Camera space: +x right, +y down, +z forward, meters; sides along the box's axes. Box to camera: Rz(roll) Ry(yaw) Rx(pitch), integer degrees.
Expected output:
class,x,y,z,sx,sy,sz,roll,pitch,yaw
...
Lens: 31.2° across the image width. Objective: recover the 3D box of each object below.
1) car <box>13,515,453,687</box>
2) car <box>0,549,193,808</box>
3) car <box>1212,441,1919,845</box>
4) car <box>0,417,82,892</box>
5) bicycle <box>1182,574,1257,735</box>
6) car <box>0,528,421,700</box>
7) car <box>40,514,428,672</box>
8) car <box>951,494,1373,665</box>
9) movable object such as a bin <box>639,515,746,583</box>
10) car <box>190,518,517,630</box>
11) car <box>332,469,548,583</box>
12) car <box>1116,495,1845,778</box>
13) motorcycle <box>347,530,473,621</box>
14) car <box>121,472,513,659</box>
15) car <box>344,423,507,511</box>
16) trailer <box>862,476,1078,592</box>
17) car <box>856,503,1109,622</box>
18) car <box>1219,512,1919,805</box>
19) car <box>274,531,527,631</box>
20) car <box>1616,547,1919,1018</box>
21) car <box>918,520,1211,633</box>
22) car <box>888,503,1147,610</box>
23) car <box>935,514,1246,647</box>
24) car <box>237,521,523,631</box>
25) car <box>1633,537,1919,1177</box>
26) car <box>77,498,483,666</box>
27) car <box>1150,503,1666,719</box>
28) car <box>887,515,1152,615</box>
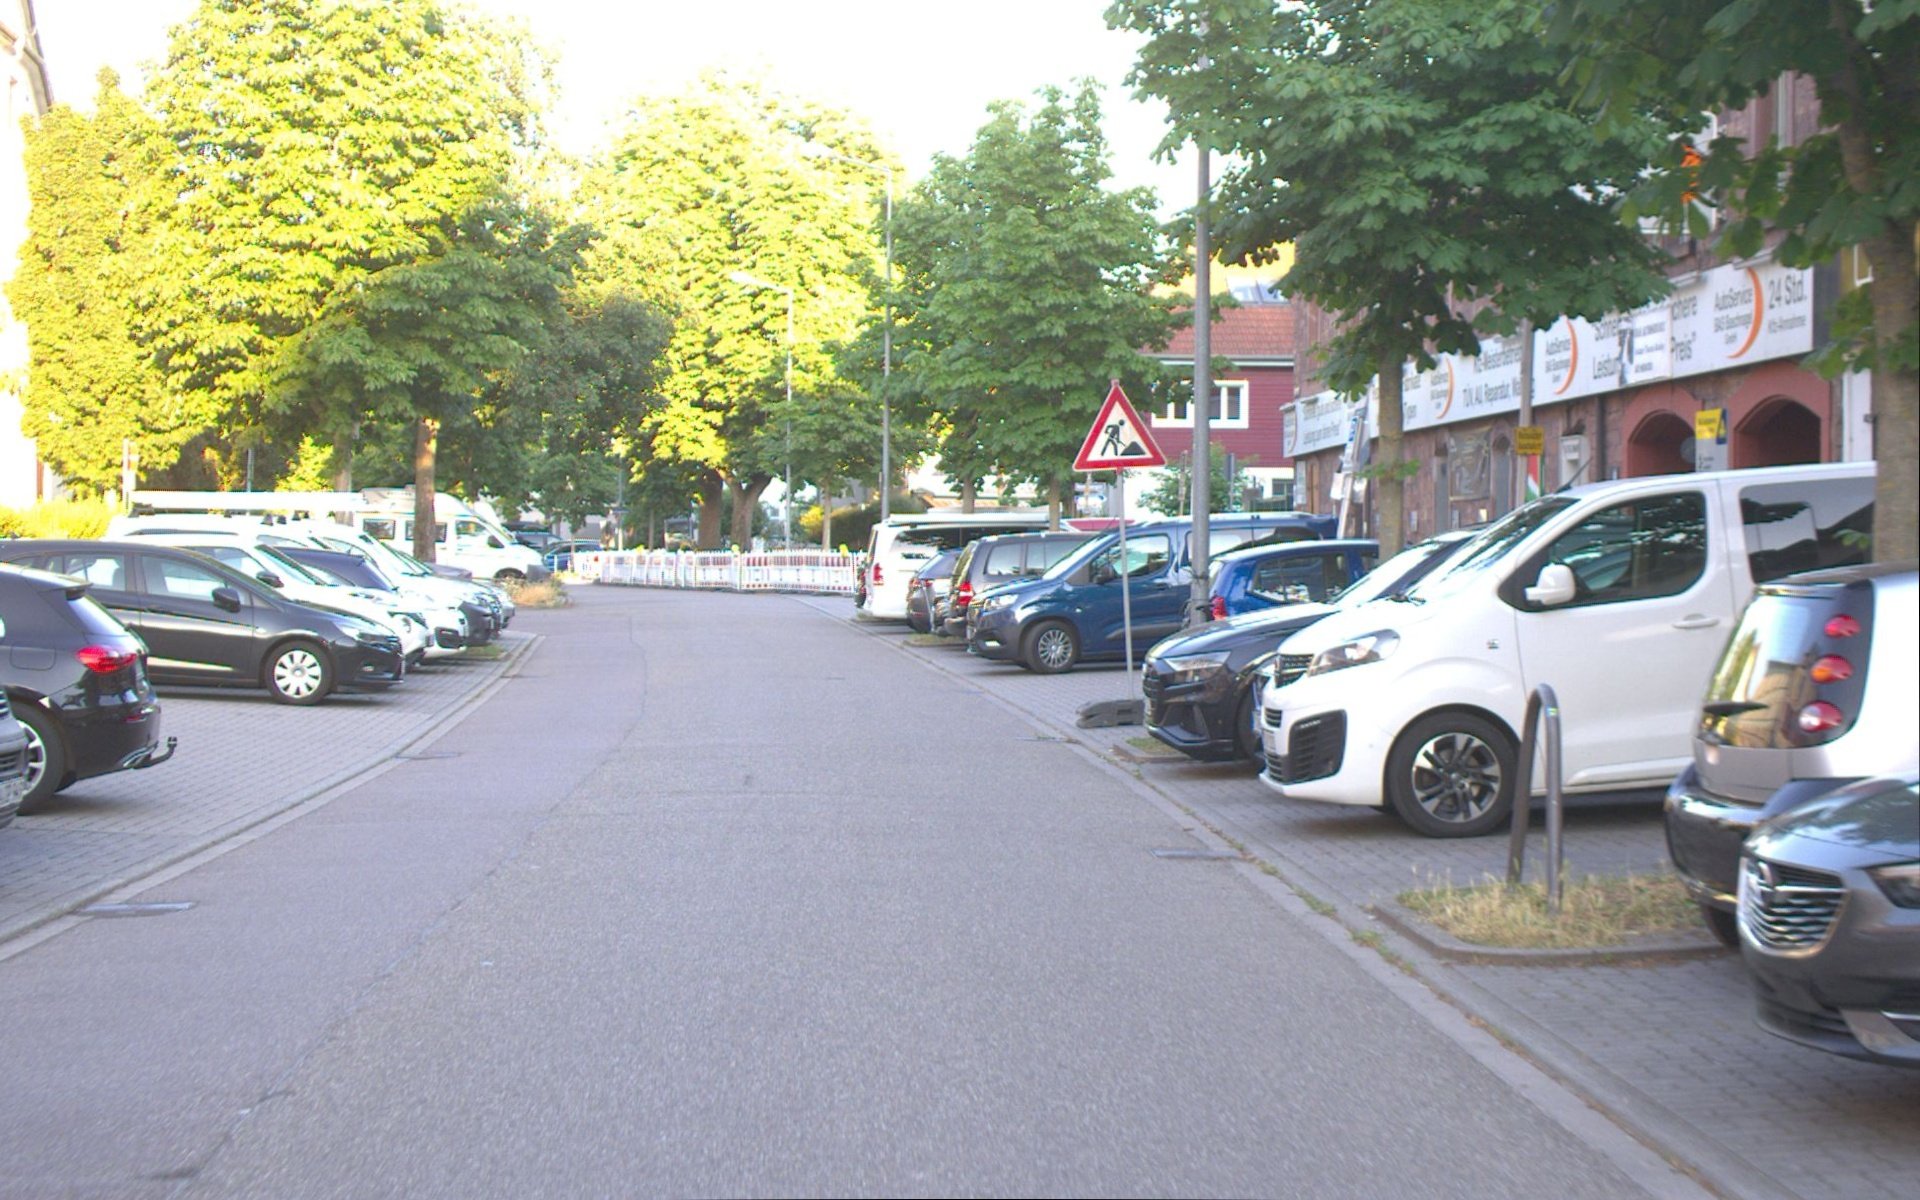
class,x,y,z,sx,sy,sz,roll,pitch,yaw
car,-7.556,-0.008,36.023,4.243,1.615,1.813,2,1,-3
car,-6.691,0.371,20.029,4.137,1.411,1.739,2,1,-7
car,3.853,0.167,19.107,4.587,1.855,2.012,-4,1,-1
car,-6.571,0.230,15.177,4.854,2.047,2.000,0,2,0
bicycle,1.998,0.400,26.596,0.308,1.188,1.763,0,1,-4
car,-7.537,0.113,33.342,4.407,1.447,1.828,3,1,-5
car,-8.078,-0.094,38.530,3.986,1.479,1.756,4,1,-5
car,2.402,-0.277,41.685,4.785,1.748,2.018,-3,2,-5
movable object such as a bin,-9.713,-1.834,124.237,2.627,2.394,5.199,0,1,-19
car,-8.600,-0.382,49.019,4.326,1.400,1.852,2,1,-2
car,-11.979,-1.693,79.428,4.731,2.561,2.000,0,1,-3
car,3.550,0.220,24.110,4.694,1.626,2.000,-3,1,-1
motorcycle,-8.840,-0.393,55.300,1.985,1.431,0.722,0,1,-9
car,-8.095,-0.459,43.587,4.512,2.063,2.000,3,2,-1
car,-15.333,-3.782,98.508,4.501,2.422,2.001,0,1,-11
trailer,0.164,-1.267,66.298,3.986,2.180,2.000,0,1,-4
car,0.340,-0.621,56.884,3.986,1.897,2.000,0,1,-5
car,3.740,0.331,21.432,3.987,1.491,1.892,-4,1,-1
car,-8.703,-0.308,53.659,3.713,1.501,1.690,0,1,-2
car,4.358,0.563,11.921,3.784,1.491,1.681,0,1,-4
car,1.478,-0.343,49.443,3.945,1.560,1.821,0,1,-8
car,0.968,-0.754,59.503,4.300,1.793,1.904,0,1,-4
car,1.755,-0.279,47.060,3.986,1.613,1.895,-3,1,-5
car,-8.578,-0.359,51.079,3.986,1.578,1.729,0,1,-2
car,4.423,0.526,9.280,4.721,1.491,2.000,-2,1,-3
car,-8.025,-0.230,40.883,4.421,1.796,1.944,2,1,-2
car,3.733,0.073,29.136,3.986,1.540,1.845,-3,1,-3
car,0.908,-0.552,53.984,3.986,1.504,1.777,0,1,-4
